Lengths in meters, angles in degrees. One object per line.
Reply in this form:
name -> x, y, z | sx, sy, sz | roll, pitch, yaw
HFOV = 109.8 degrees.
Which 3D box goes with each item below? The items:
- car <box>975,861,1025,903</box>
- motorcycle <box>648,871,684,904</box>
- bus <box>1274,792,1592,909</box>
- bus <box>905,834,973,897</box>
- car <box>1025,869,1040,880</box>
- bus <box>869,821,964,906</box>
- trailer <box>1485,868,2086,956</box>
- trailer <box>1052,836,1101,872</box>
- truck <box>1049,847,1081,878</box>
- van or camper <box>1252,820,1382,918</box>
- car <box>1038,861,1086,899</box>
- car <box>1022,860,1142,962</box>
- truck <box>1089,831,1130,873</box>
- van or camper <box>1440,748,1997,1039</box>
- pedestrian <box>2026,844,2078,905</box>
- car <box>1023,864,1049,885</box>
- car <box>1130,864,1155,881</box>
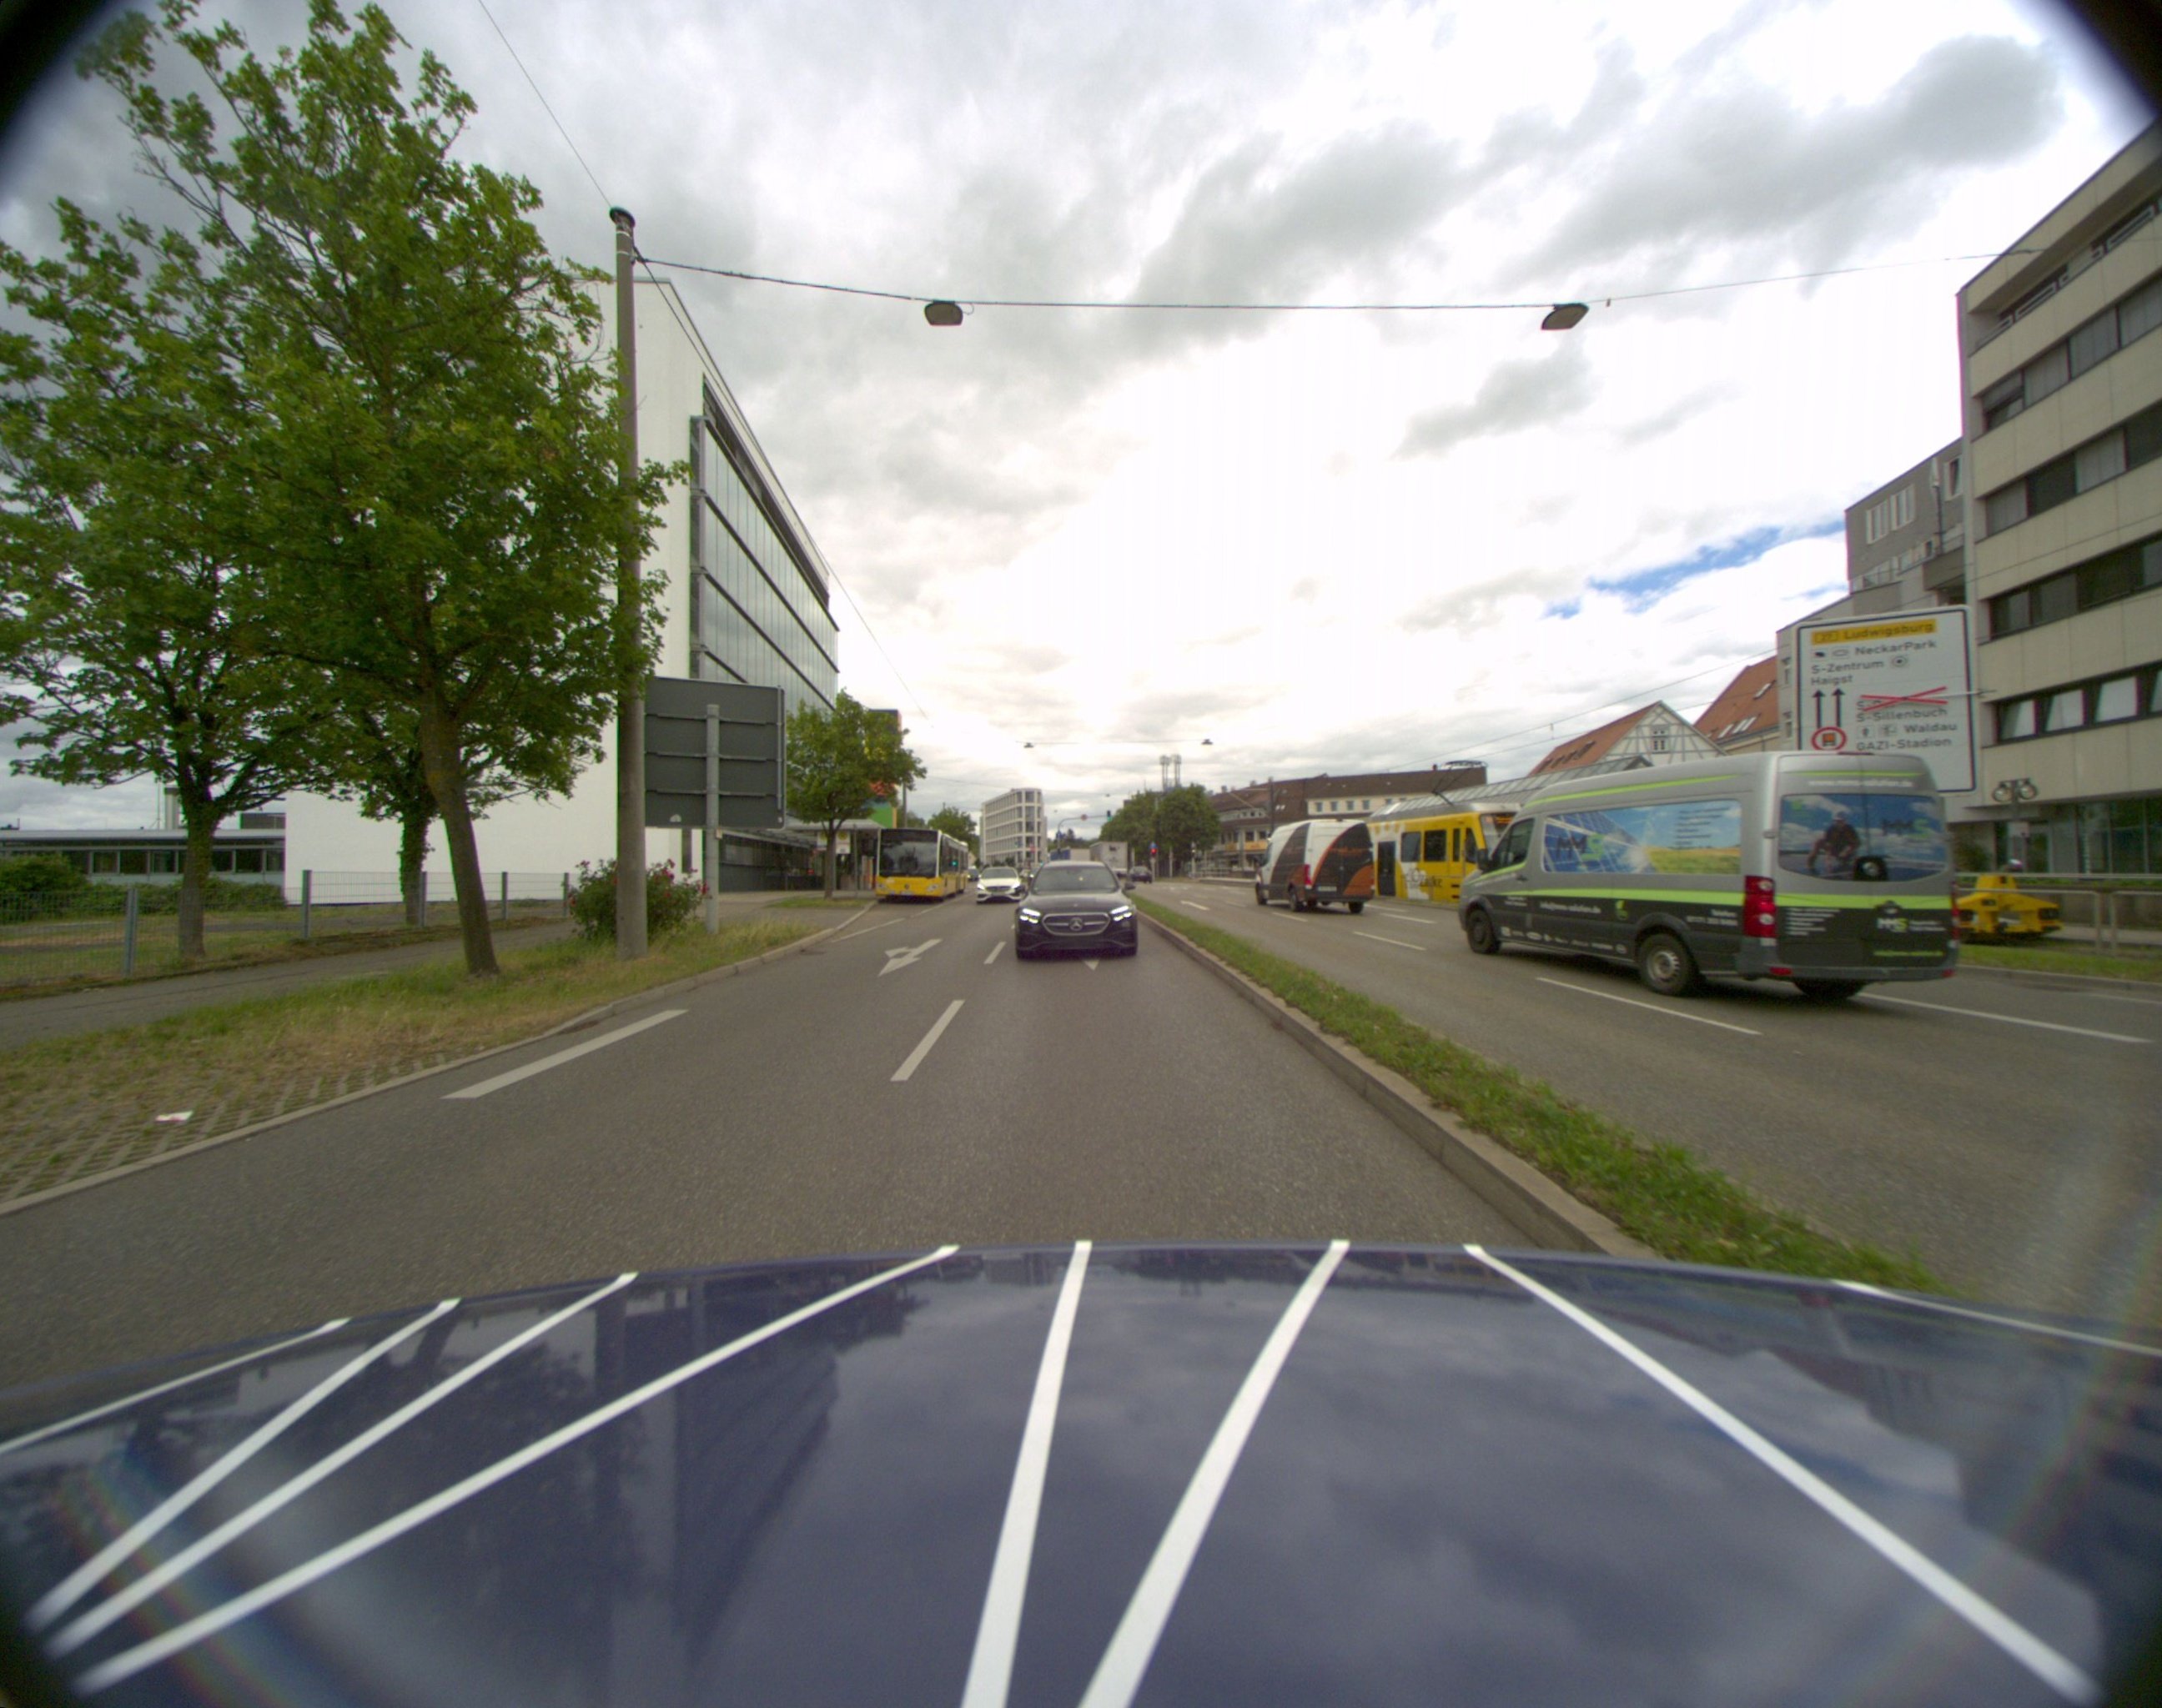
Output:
car -> -3.331, 1.109, 31.525 | 1.873, 1.496, 4.770 | -2, 0, -5
motorcycle -> -14.472, 1.138, 26.471 | 0.826, 1.108, 1.737 | 0, -1, -38
bus -> 14.091, -0.039, 34.645 | 3.889, 3.836, 19.333 | -1, 0, -5
bus -> -7.944, 0.611, 43.659 | 3.045, 3.216, 9.333 | 0, 0, -6
car -> -7.123, 3.012, 110.690 | 1.792, 1.507, 4.362 | -1, -1, -8
bus -> -7.073, 0.391, 34.224 | 2.991, 3.222, 9.861 | -1, 0, -5
trailer -> 15.150, 1.080, 18.848 | 2.849, 1.325, 12.121 | 0, 0, -5
trailer -> -0.826, 0.168, 96.379 | 3.113, 4.243, 14.833 | -1, -1, -13
truck -> -2.240, 1.220, 102.844 | 3.102, 3.997, 6.150 | -1, -1, -12
van or camper -> 6.989, 0.407, 23.332 | 1.999, 2.583, 6.115 | 1, 0, 0
car -> -0.894, 1.230, 37.731 | 1.734, 1.680, 4.371 | -2, 0, 6
car -> -0.110, 0.971, 14.772 | 1.873, 1.542, 4.772 | -4, -1, -3
truck -> 2.725, -0.111, 75.872 | 2.947, 3.934, 9.161 | -1, -1, -5
van or camper -> 7.180, 0.374, 9.885 | 2.037, 2.583, 6.115 | 1, 0, 0
pedestrian -> 27.241, 0.570, 21.320 | 0.693, 1.690, 0.628 | -1, 0, -3
car -> -3.588, 1.616, 61.133 | 1.735, 1.474, 4.369 | -2, 0, 1
car -> 4.937, 1.482, 61.548 | 1.510, 1.337, 3.948 | 1, -1, -3
